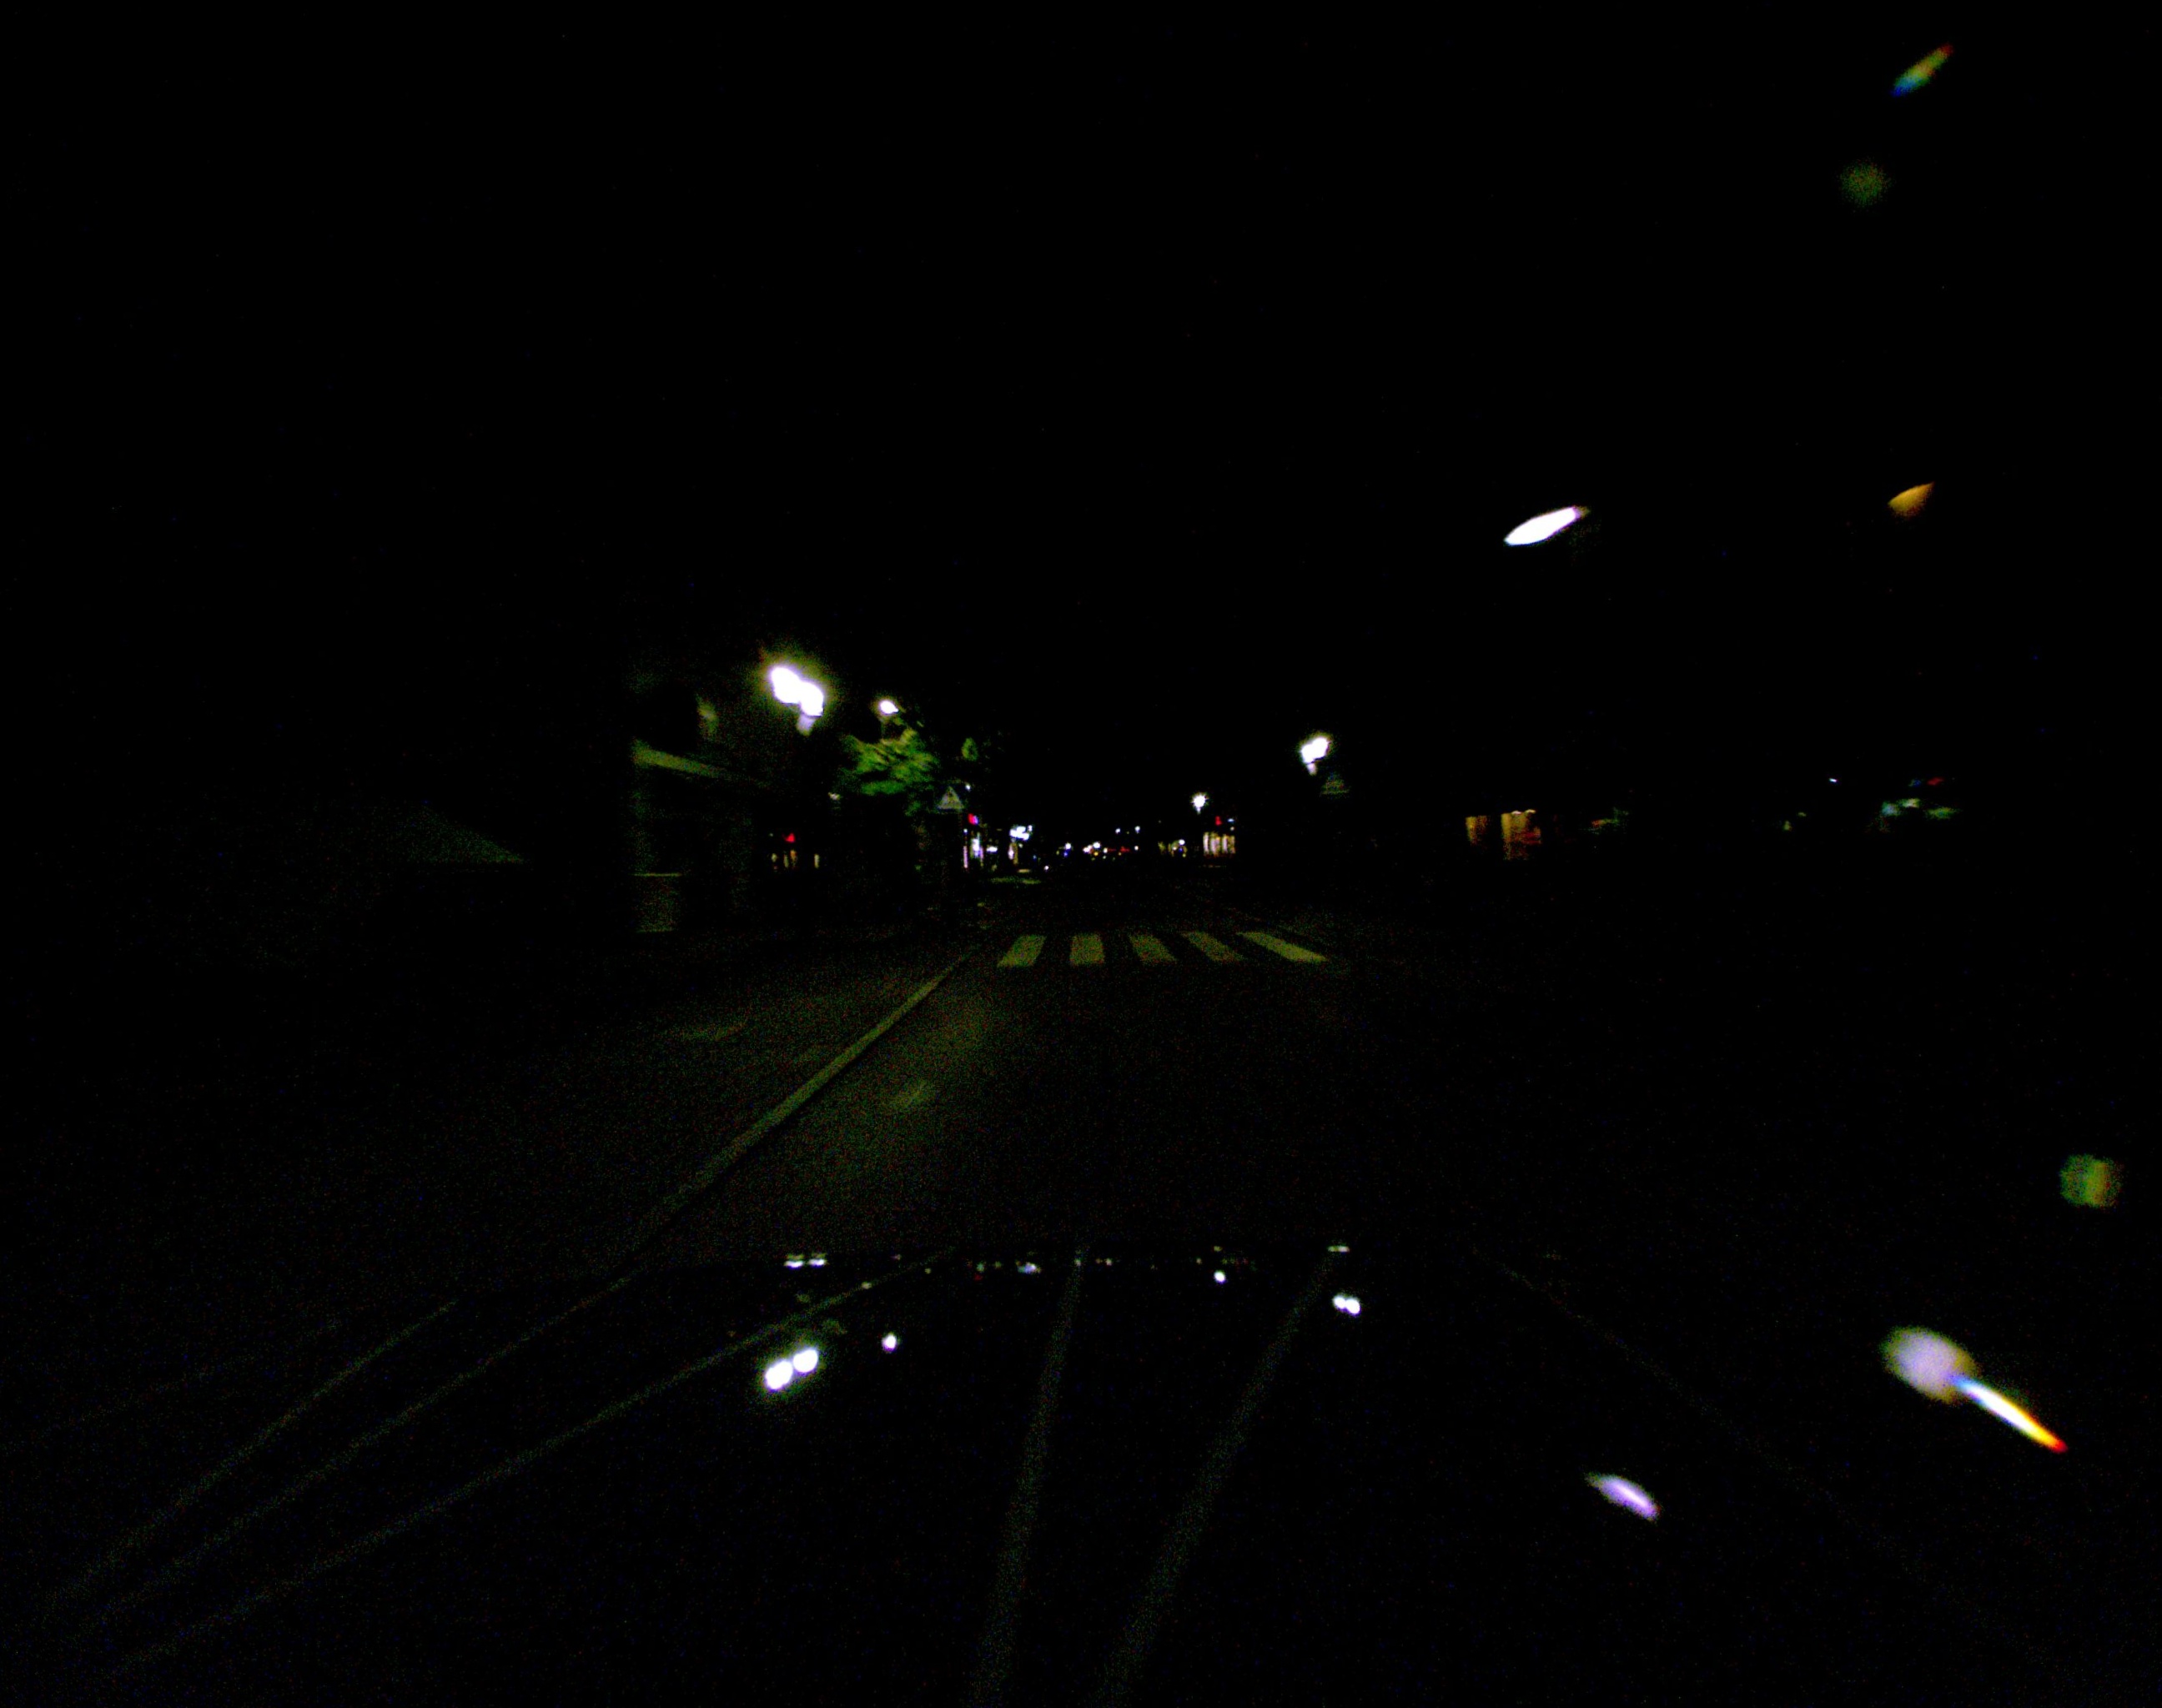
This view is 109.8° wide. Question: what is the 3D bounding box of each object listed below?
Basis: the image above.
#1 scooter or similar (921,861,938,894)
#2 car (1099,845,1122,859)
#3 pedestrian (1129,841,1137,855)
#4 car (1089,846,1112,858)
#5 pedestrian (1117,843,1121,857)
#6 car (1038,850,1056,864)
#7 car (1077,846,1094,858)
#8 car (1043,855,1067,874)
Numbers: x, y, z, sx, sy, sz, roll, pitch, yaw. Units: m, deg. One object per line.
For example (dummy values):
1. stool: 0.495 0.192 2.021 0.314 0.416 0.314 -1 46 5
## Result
1. scooter or similar: -6.318 0.960 31.735 0.374 1.269 1.305 -2 2 2
2. car: 3.610 -0.221 94.349 1.765 1.628 4.810 -2 1 -10
3. pedestrian: 6.762 -0.812 98.226 0.794 1.807 1.023 -4 2 -2
4. car: 2.559 -0.262 100.276 1.911 1.533 4.776 -3 1 -12
5. pedestrian: 4.964 -0.478 98.642 0.502 1.812 0.503 -2 2 3
6. car: -4.028 0.279 90.255 1.747 1.479 4.632 -2 2 -7
7. car: 0.643 -0.356 110.928 1.776 1.565 4.479 -3 1 -8
8. car: -2.122 0.796 60.535 1.739 1.432 4.494 -2 0 -4
